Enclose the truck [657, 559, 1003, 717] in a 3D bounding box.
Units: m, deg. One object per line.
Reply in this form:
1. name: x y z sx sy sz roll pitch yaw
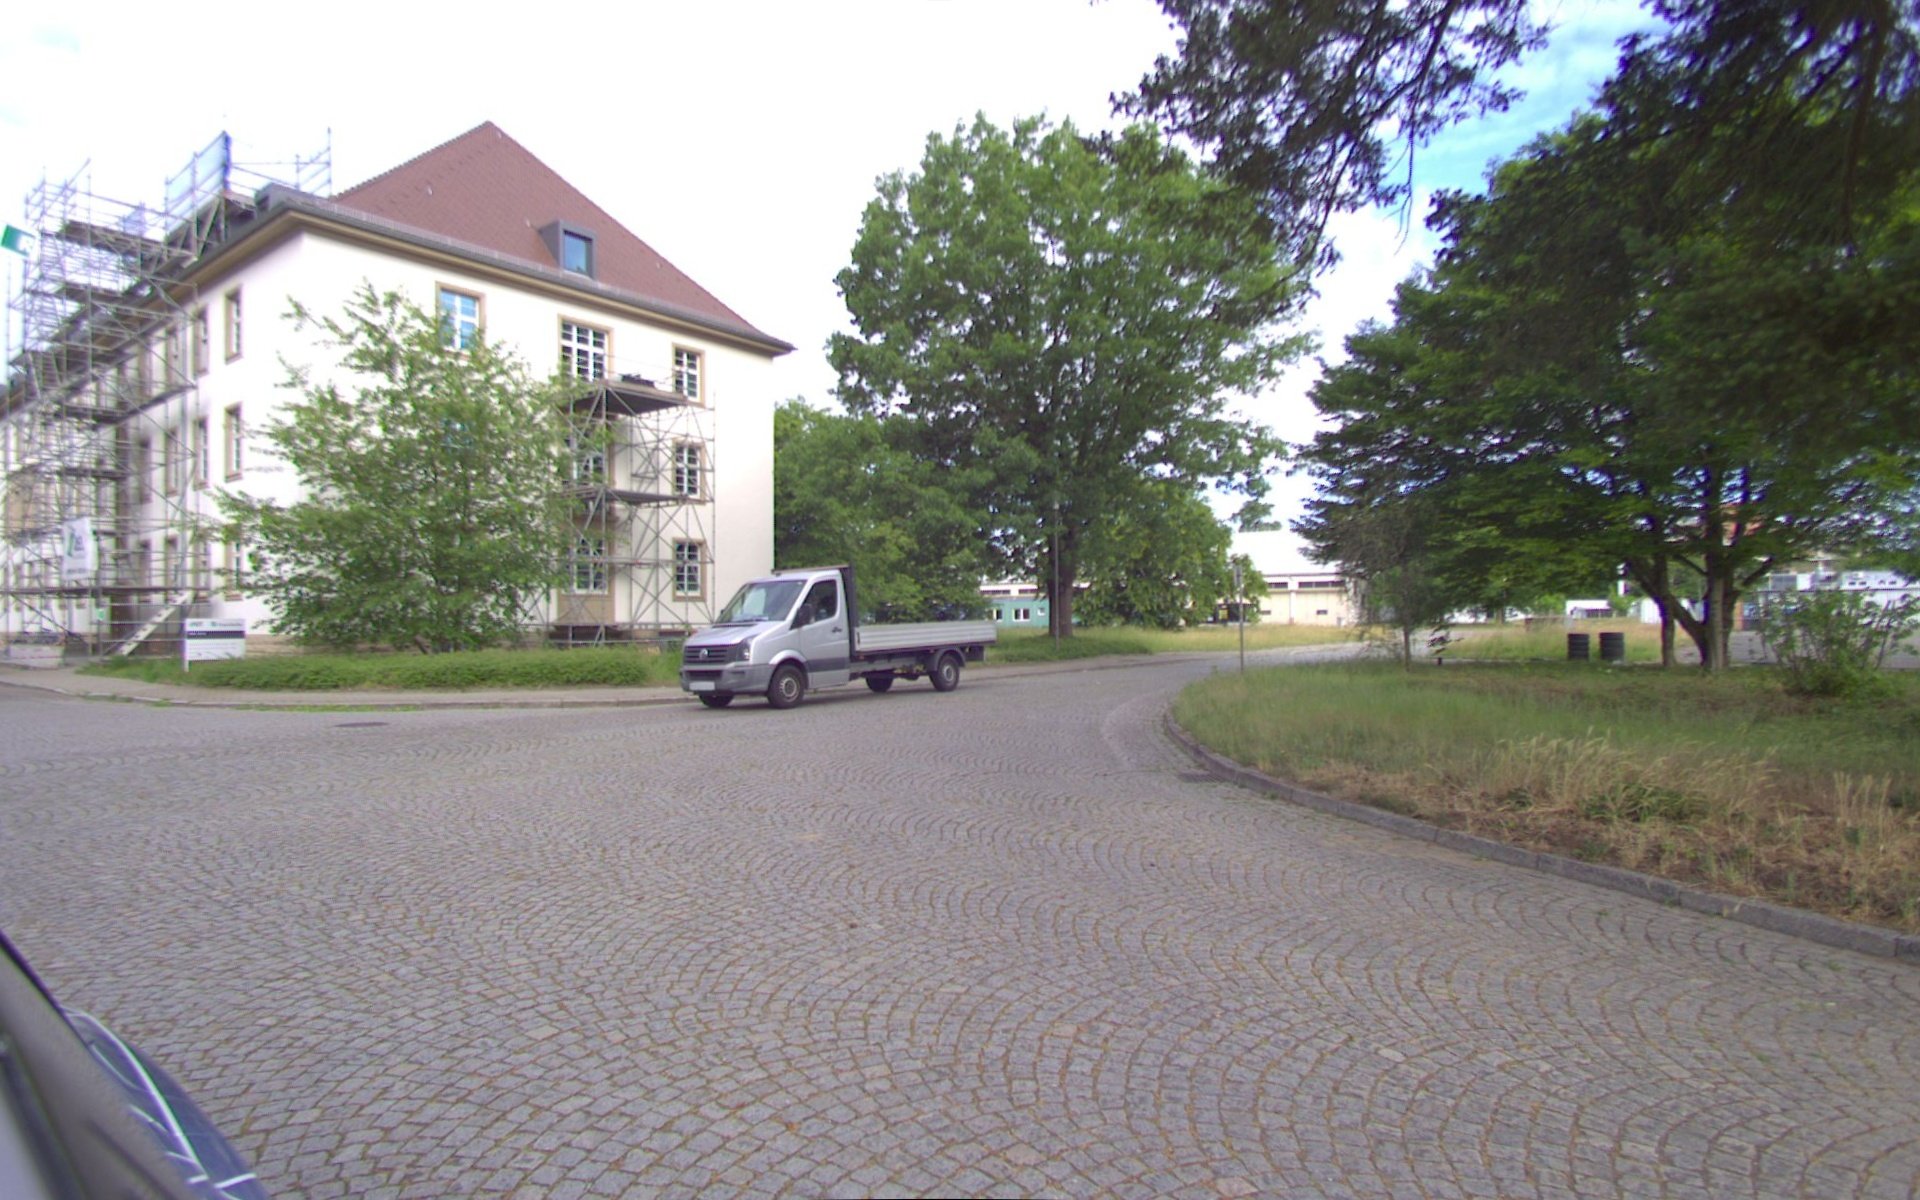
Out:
1. truck: -2.033 0.637 18.667 1.990 2.384 6.999 -3 -2 37
